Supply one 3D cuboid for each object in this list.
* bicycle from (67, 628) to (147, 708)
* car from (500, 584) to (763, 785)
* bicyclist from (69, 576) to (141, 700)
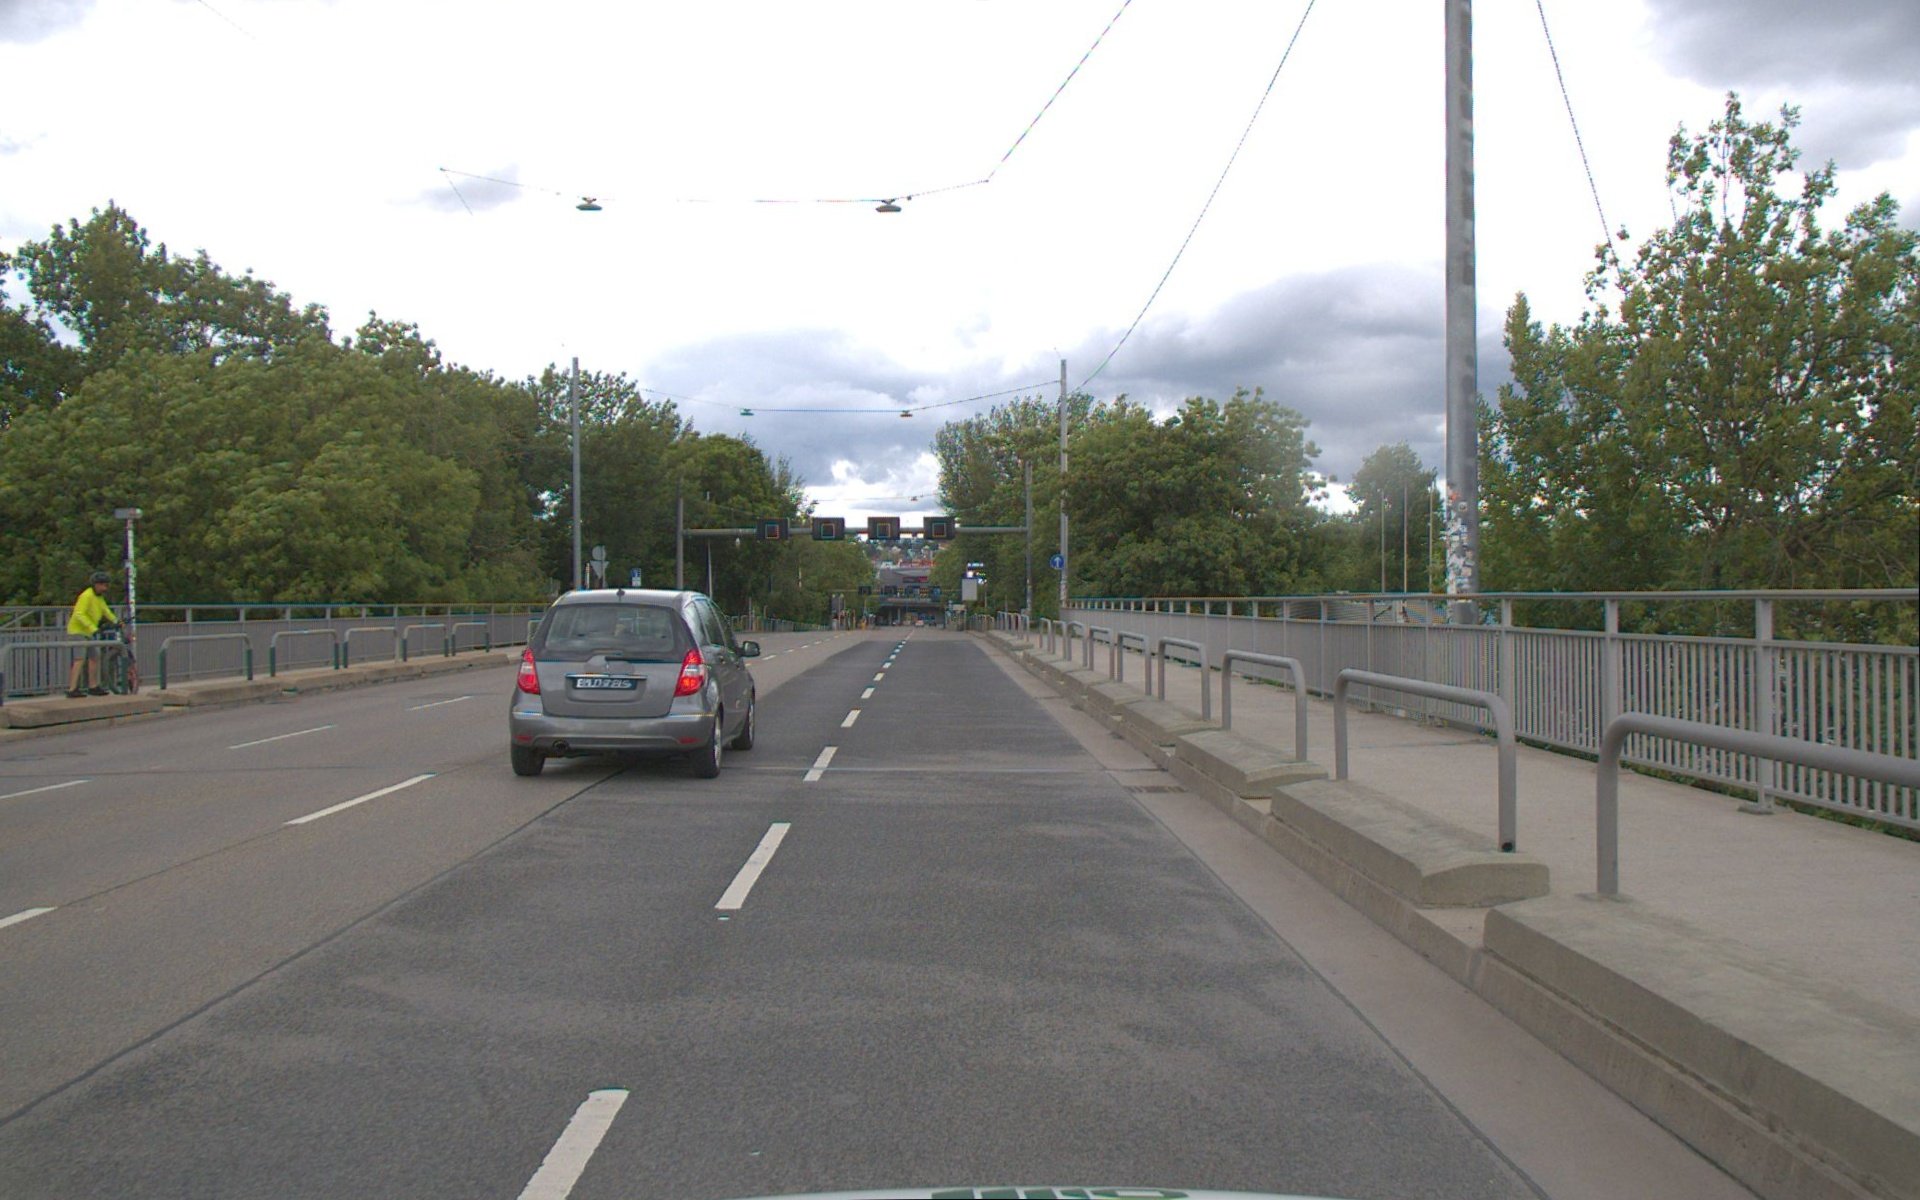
[{"bbox_3d":[-12.669,0.972,24.513,0.908,1.069,2.771,0,0,-31],"label":"bicycle"},{"bbox_3d":[-2.843,0.660,15.112,1.710,1.577,3.870,0,1,-1],"label":"car"},{"bbox_3d":[-12.720,0.547,24.597,0.893,1.795,1.124,0,0,-31],"label":"bicyclist"}]
